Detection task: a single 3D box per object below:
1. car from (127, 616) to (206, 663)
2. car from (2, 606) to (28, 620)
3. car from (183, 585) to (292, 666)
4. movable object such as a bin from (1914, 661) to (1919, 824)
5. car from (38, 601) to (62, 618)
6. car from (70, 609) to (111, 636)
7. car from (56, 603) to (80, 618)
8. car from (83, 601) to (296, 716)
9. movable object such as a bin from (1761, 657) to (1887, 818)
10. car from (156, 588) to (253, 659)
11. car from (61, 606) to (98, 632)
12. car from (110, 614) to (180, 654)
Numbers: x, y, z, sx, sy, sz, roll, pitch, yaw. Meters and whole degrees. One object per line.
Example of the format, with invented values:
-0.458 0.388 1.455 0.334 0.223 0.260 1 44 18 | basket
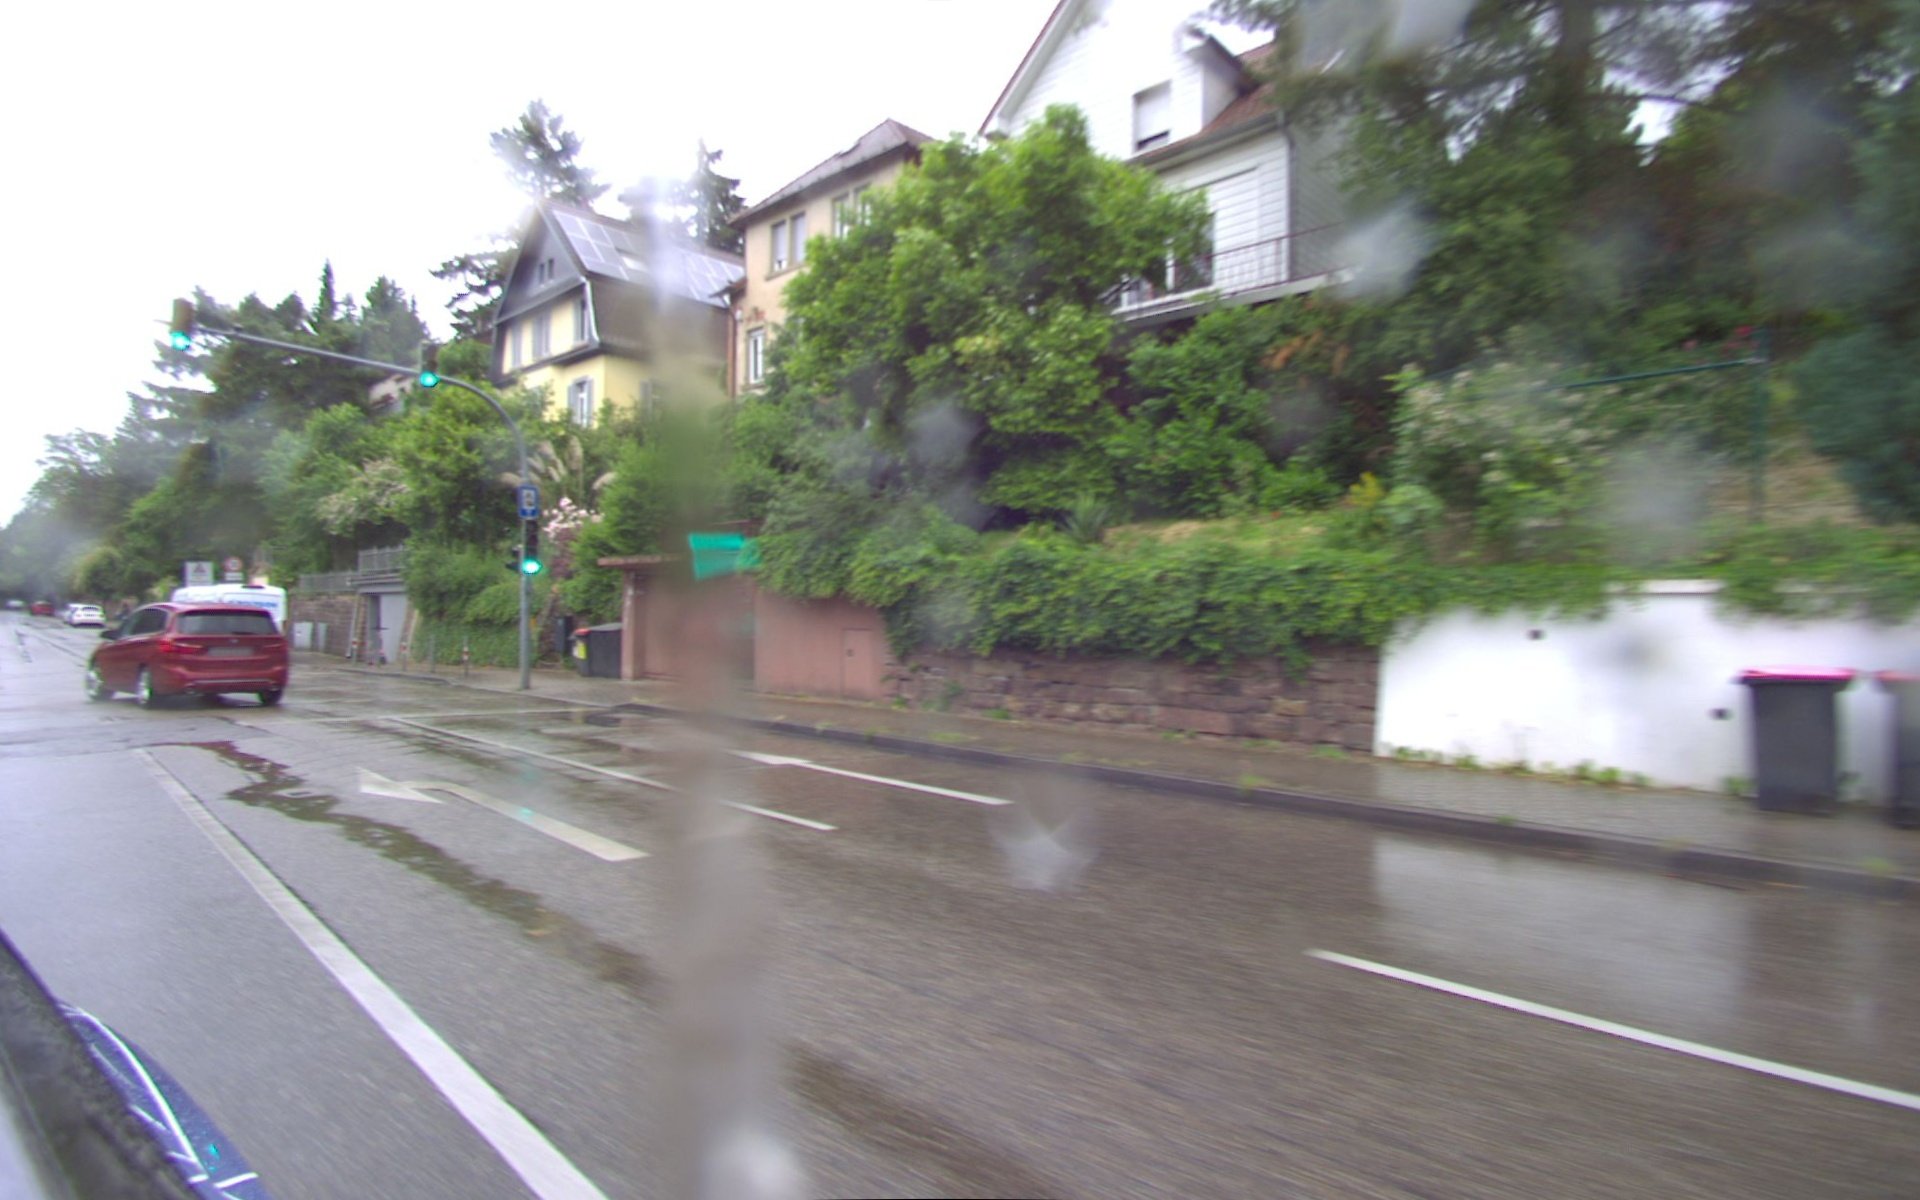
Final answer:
-36.372 1.789 46.355 4.919 1.971 2.132 0 -4 45 | car
-133.017 1.785 142.476 1.894 1.914 4.011 0 0 -32 | car
-24.322 0.856 33.995 4.856 2.497 2.056 0 -4 45 | car
6.809 0.961 6.738 0.657 1.048 0.673 -1 0 44 | movable object such as a bin
-108.455 1.133 120.671 1.896 1.914 4.007 0 0 -39 | car
-60.258 1.529 70.106 1.898 1.770 4.003 0 0 -44 | car
-113.498 1.285 128.805 1.894 1.914 4.010 0 0 -35 | car
-12.430 0.849 16.251 4.088 1.622 1.771 0 -1 38 | car
6.296 0.964 7.375 0.657 1.048 0.673 -1 0 44 | movable object such as a bin
-28.860 0.897 38.592 4.919 2.487 2.132 0 -4 45 | car
-67.455 1.401 77.522 1.898 1.914 4.003 0 0 -44 | car
-41.231 1.707 51.154 4.919 1.840 2.132 0 -4 45 | car
